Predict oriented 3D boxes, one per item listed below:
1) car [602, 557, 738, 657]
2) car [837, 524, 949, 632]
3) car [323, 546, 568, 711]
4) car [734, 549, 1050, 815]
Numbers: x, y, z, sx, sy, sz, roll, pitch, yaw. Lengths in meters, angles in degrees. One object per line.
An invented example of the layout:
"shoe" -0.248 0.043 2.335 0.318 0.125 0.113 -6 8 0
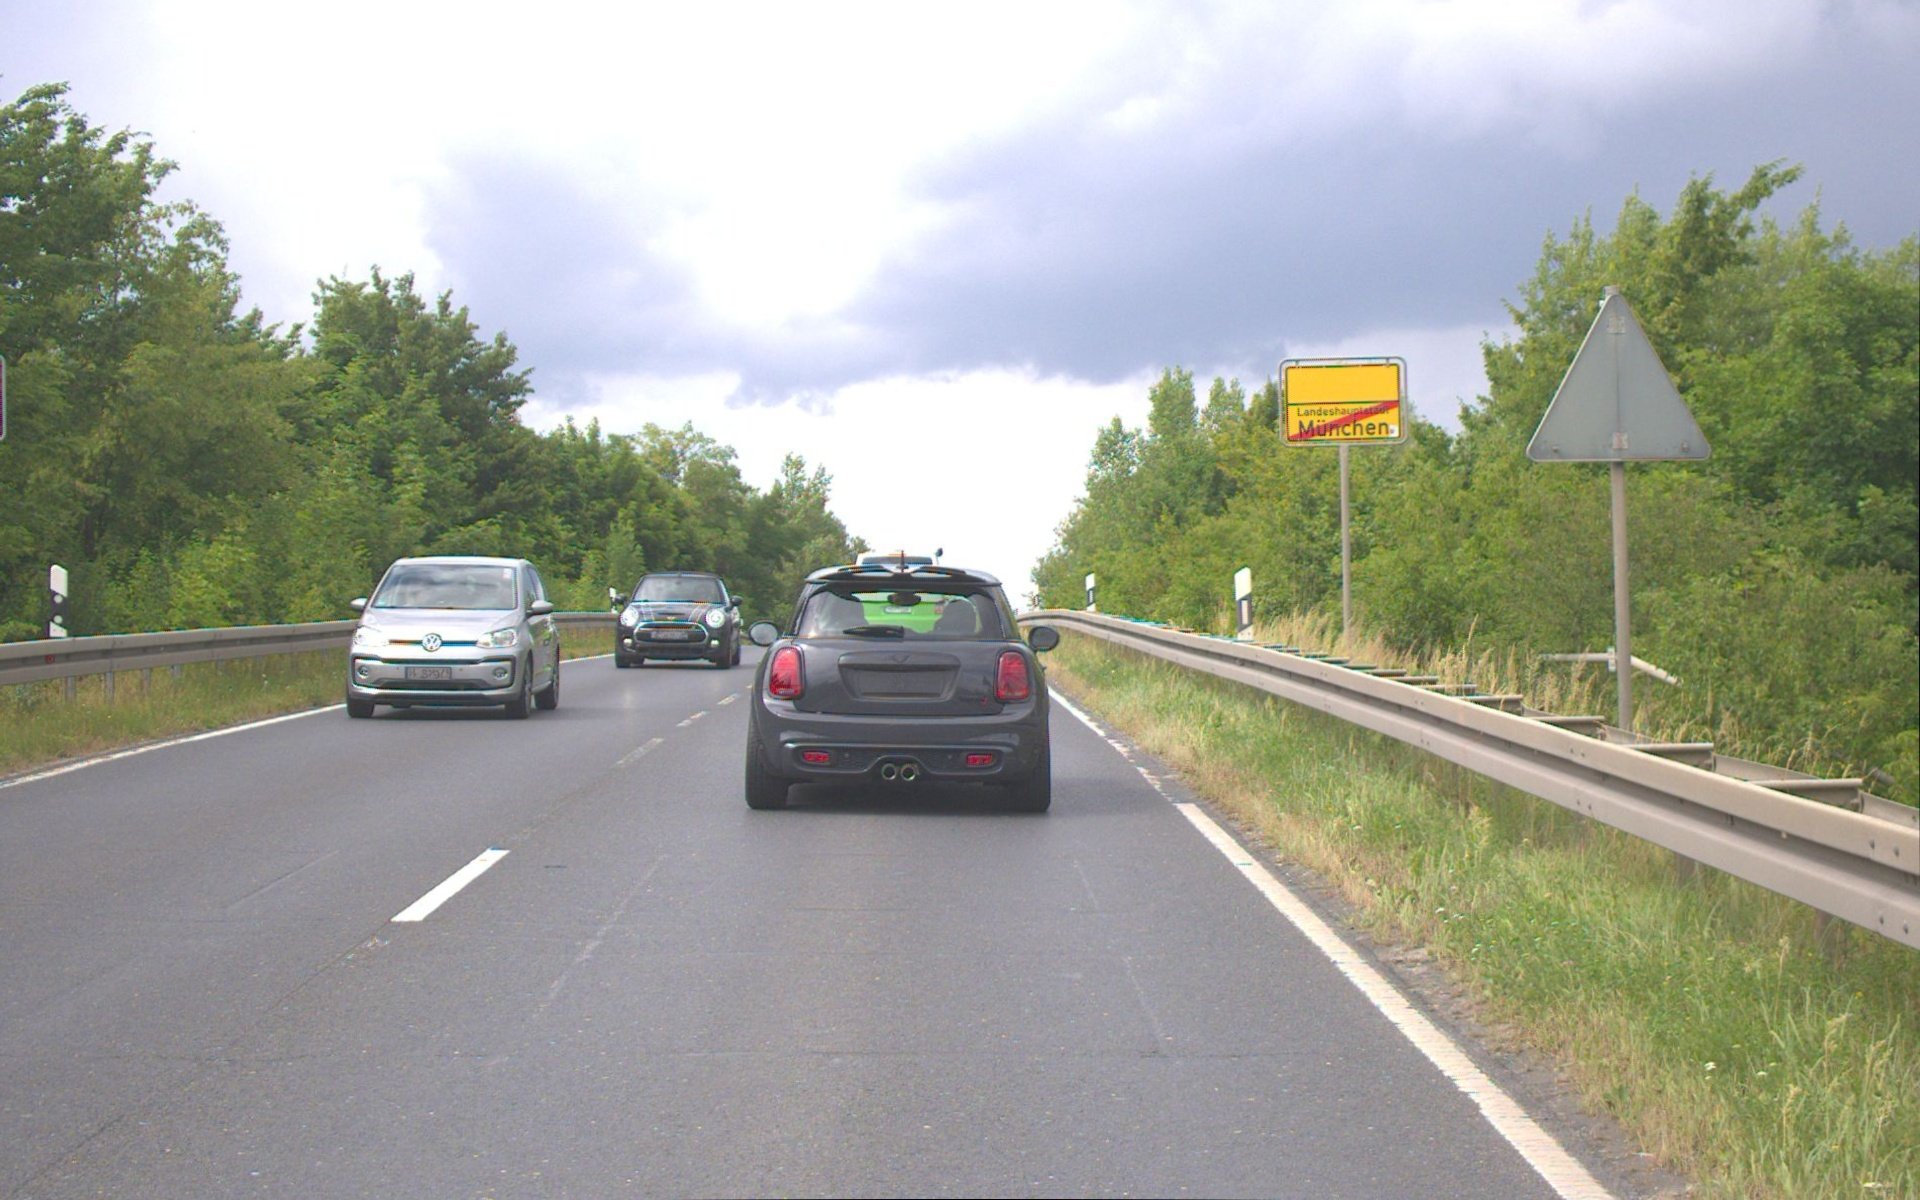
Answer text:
"car" -4.335 0.076 51.834 1.835 1.415 4.000 1 1 -2
"car" -1.245 -0.407 65.683 2.022 2.006 4.000 0 0 1
"car" -4.758 0.230 32.278 1.835 1.440 4.000 1 1 -2
"car" -0.355 0.426 20.995 1.732 1.451 4.000 1 1 1
